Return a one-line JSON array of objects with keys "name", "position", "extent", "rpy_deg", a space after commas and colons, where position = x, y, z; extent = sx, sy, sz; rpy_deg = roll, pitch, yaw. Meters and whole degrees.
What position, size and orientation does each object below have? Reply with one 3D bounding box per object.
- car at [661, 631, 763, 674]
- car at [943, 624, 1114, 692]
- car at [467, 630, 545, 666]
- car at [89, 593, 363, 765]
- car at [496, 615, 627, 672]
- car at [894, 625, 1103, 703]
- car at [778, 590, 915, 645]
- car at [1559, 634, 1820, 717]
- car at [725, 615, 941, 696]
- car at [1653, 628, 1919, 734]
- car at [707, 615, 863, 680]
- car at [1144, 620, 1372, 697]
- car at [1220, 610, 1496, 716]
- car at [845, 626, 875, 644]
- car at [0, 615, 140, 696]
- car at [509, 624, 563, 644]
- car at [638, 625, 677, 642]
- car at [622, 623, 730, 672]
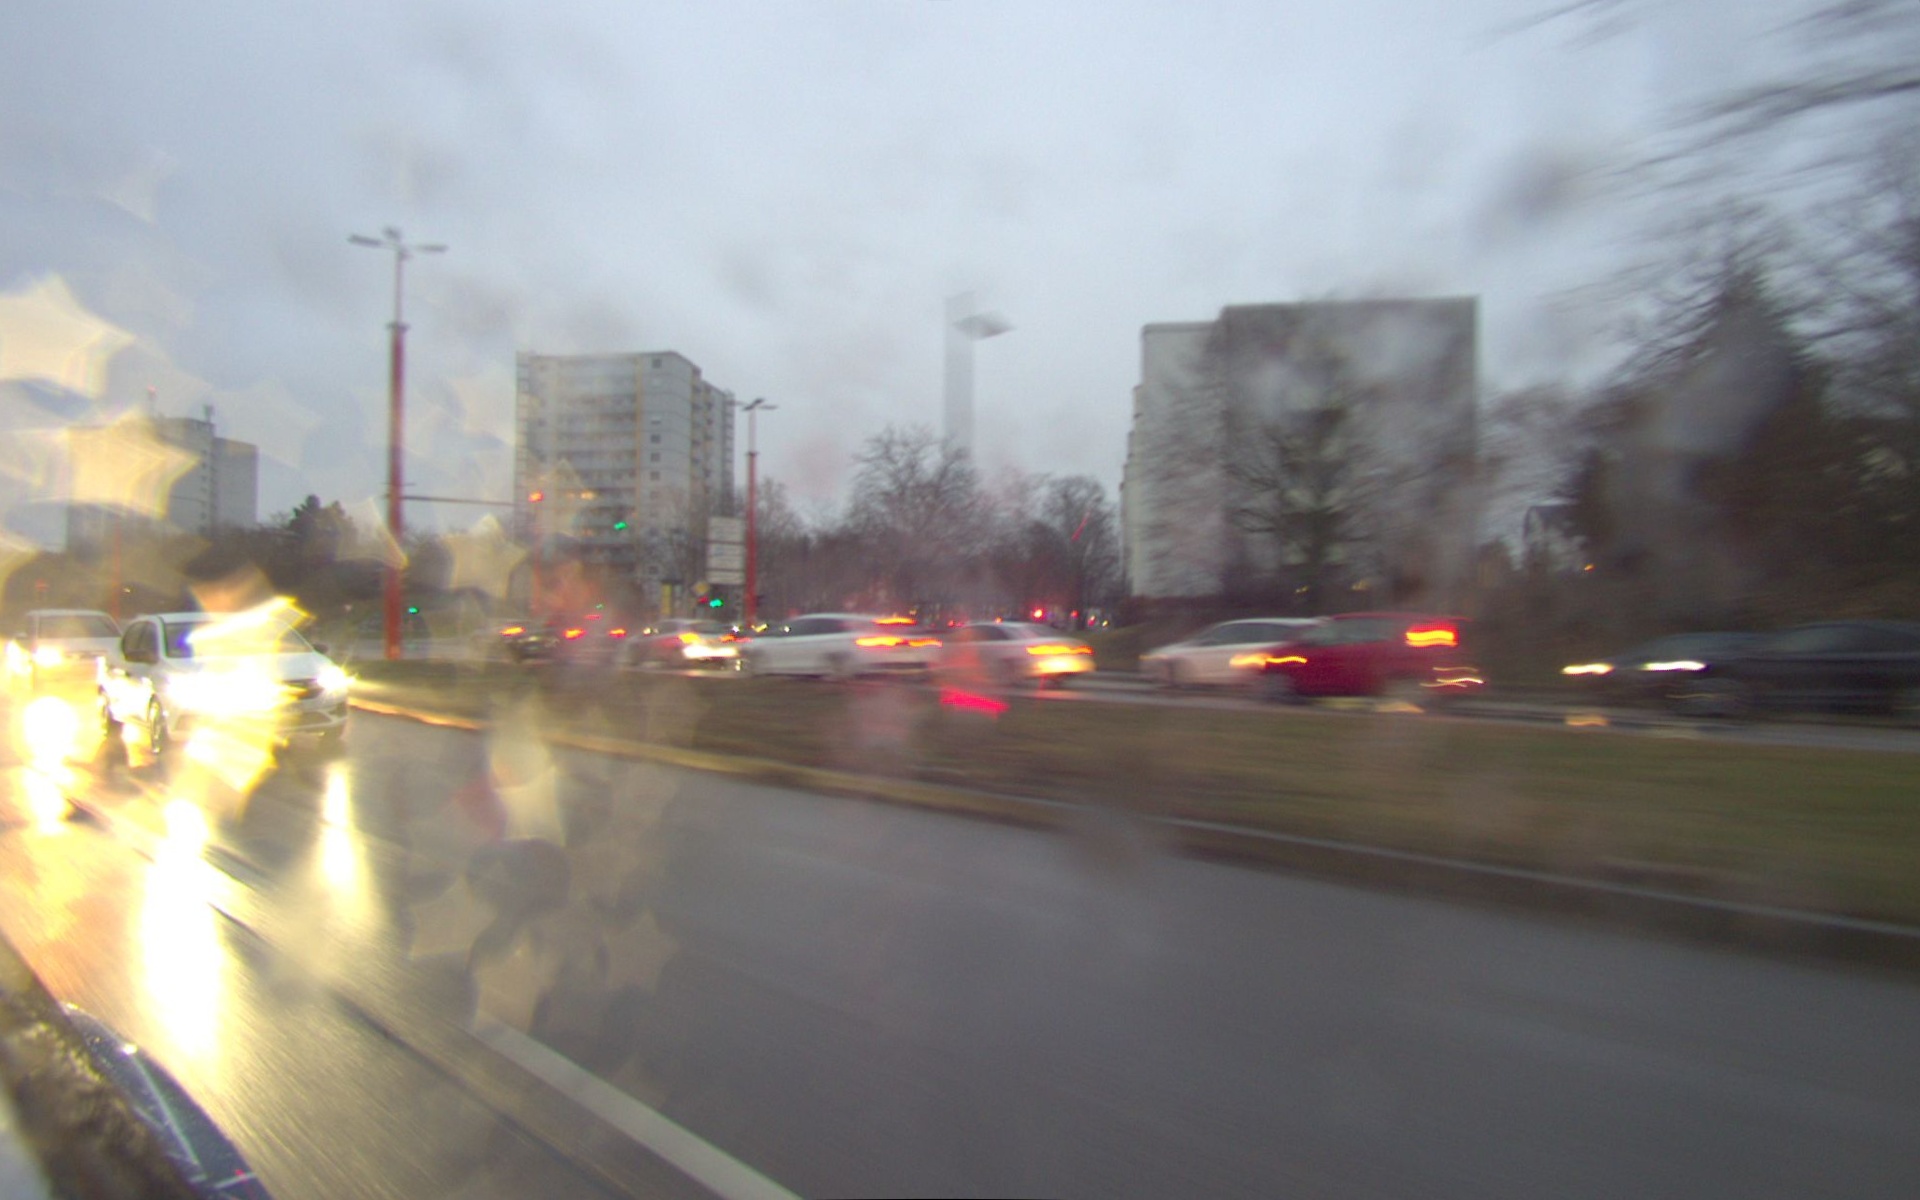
[{"name": "car", "position": [-8.900, 1.829, 36.169], "extent": [3.907, 1.438, 1.604], "rpy_deg": [-1, -2, 41]}, {"name": "car", "position": [1.704, 1.405, 25.784], "extent": [3.998, 1.546, 1.973], "rpy_deg": [-1, -1, 41]}, {"name": "car", "position": [-20.896, 2.161, 46.546], "extent": [3.944, 1.565, 1.752], "rpy_deg": [-1, -2, 40]}, {"name": "car", "position": [-8.634, 0.797, 11.778], "extent": [4.145, 1.660, 1.696], "rpy_deg": [-1, -2, 41]}, {"name": "car", "position": [-11.944, 1.262, 30.250], "extent": [4.074, 1.594, 1.839], "rpy_deg": [-1, -2, 38]}, {"name": "car", "position": [0.771, 1.339, 22.388], "extent": [4.522, 1.545, 1.751], "rpy_deg": [-1, -2, 41]}, {"name": "car", "position": [-3.480, 0.562, 30.679], "extent": [3.998, 1.546, 1.972], "rpy_deg": [-1, -2, 41]}, {"name": "car", "position": [14.171, 1.386, 19.780], "extent": [3.998, 1.409, 1.738], "rpy_deg": [-1, -2, 41]}, {"name": "car", "position": [-2.786, 1.111, 21.444], "extent": [4.837, 1.548, 1.751], "rpy_deg": [-1, -2, 41]}, {"name": "car", "position": [13.611, 1.194, 15.622], "extent": [4.647, 1.501, 1.751], "rpy_deg": [-1, -2, 41]}, {"name": "car", "position": [-4.730, 1.229, 27.066], "extent": [4.284, 1.611, 1.838], "rpy_deg": [-1, -2, 41]}, {"name": "car", "position": [6.363, 1.207, 21.912], "extent": [4.437, 1.506, 1.751], "rpy_deg": [-1, -2, 41]}, {"name": "car", "position": [6.684, 1.005, 17.227], "extent": [4.031, 1.598, 1.751], "rpy_deg": [-1, -2, 41]}, {"name": "car", "position": [-9.057, 3.159, 92.268], "extent": [1.974, 1.541, 4.592], "rpy_deg": [0, -2, 4]}, {"name": "car", "position": [-19.081, 1.109, 21.633], "extent": [4.187, 1.551, 1.672], "rpy_deg": [-1, 0, 40]}, {"name": "car", "position": [-34.966, 2.807, 83.640], "extent": [1.834, 1.556, 4.420], "rpy_deg": [0, -2, 14]}, {"name": "car", "position": [-28.870, 3.177, 96.716], "extent": [1.696, 1.556, 3.981], "rpy_deg": [0, -2, 14]}, {"name": "car", "position": [-8.720, 1.417, 31.021], "extent": [3.324, 1.431, 1.635], "rpy_deg": [-1, -2, 41]}]
